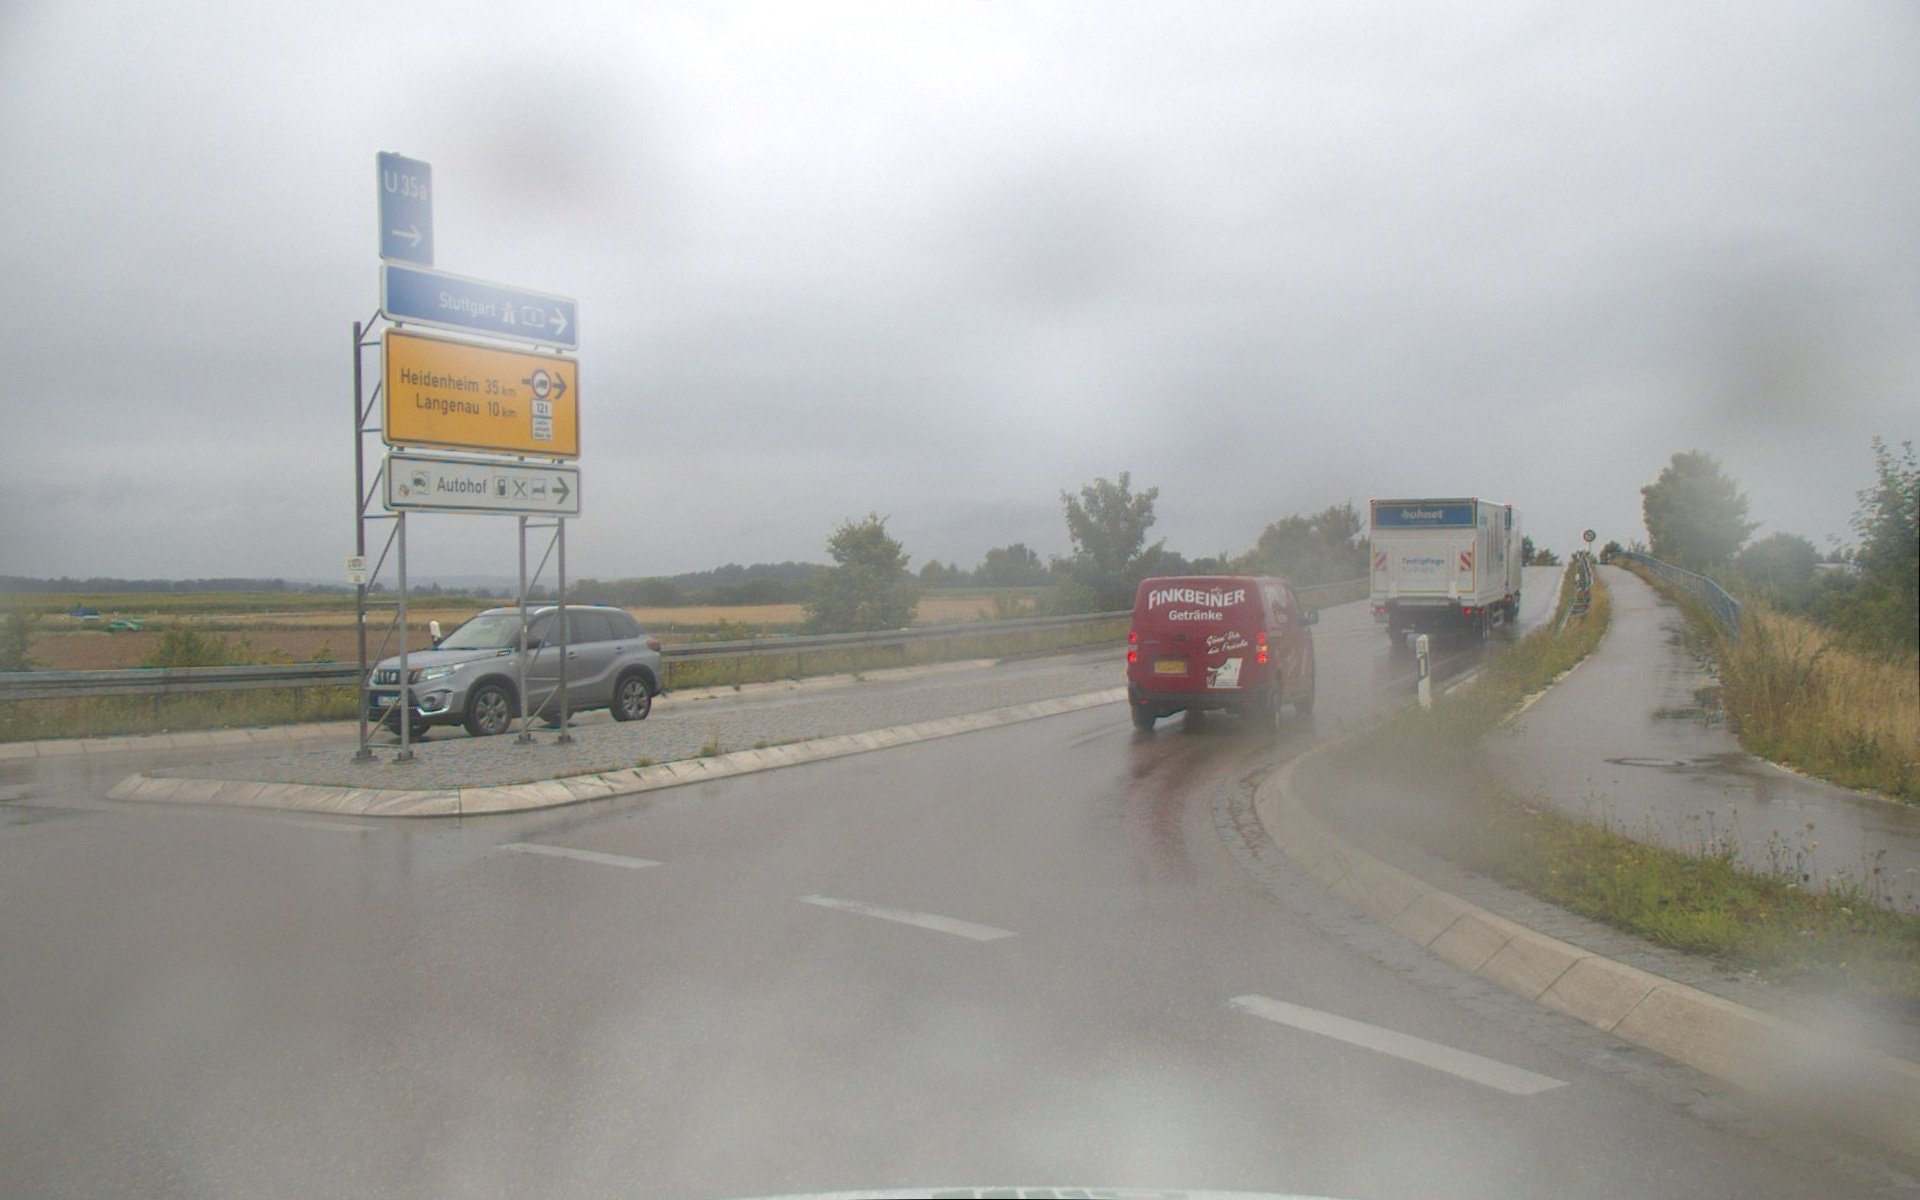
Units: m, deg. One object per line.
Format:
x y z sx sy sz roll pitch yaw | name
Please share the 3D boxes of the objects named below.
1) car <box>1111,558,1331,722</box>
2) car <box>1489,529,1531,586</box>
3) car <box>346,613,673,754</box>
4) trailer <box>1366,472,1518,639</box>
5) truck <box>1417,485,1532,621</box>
3.637 0.435 22.238 1.952 1.903 4.980 -1 1 20 | car
29.230 -2.231 87.909 1.952 2.993 4.000 0 1 21 | car
-5.826 1.011 21.803 1.769 1.602 3.987 0 0 34 | car
12.868 -1.128 43.526 2.774 3.885 9.714 -1 1 22 | trailer
16.147 -1.428 51.580 2.742 3.885 7.689 -1 1 22 | truck
